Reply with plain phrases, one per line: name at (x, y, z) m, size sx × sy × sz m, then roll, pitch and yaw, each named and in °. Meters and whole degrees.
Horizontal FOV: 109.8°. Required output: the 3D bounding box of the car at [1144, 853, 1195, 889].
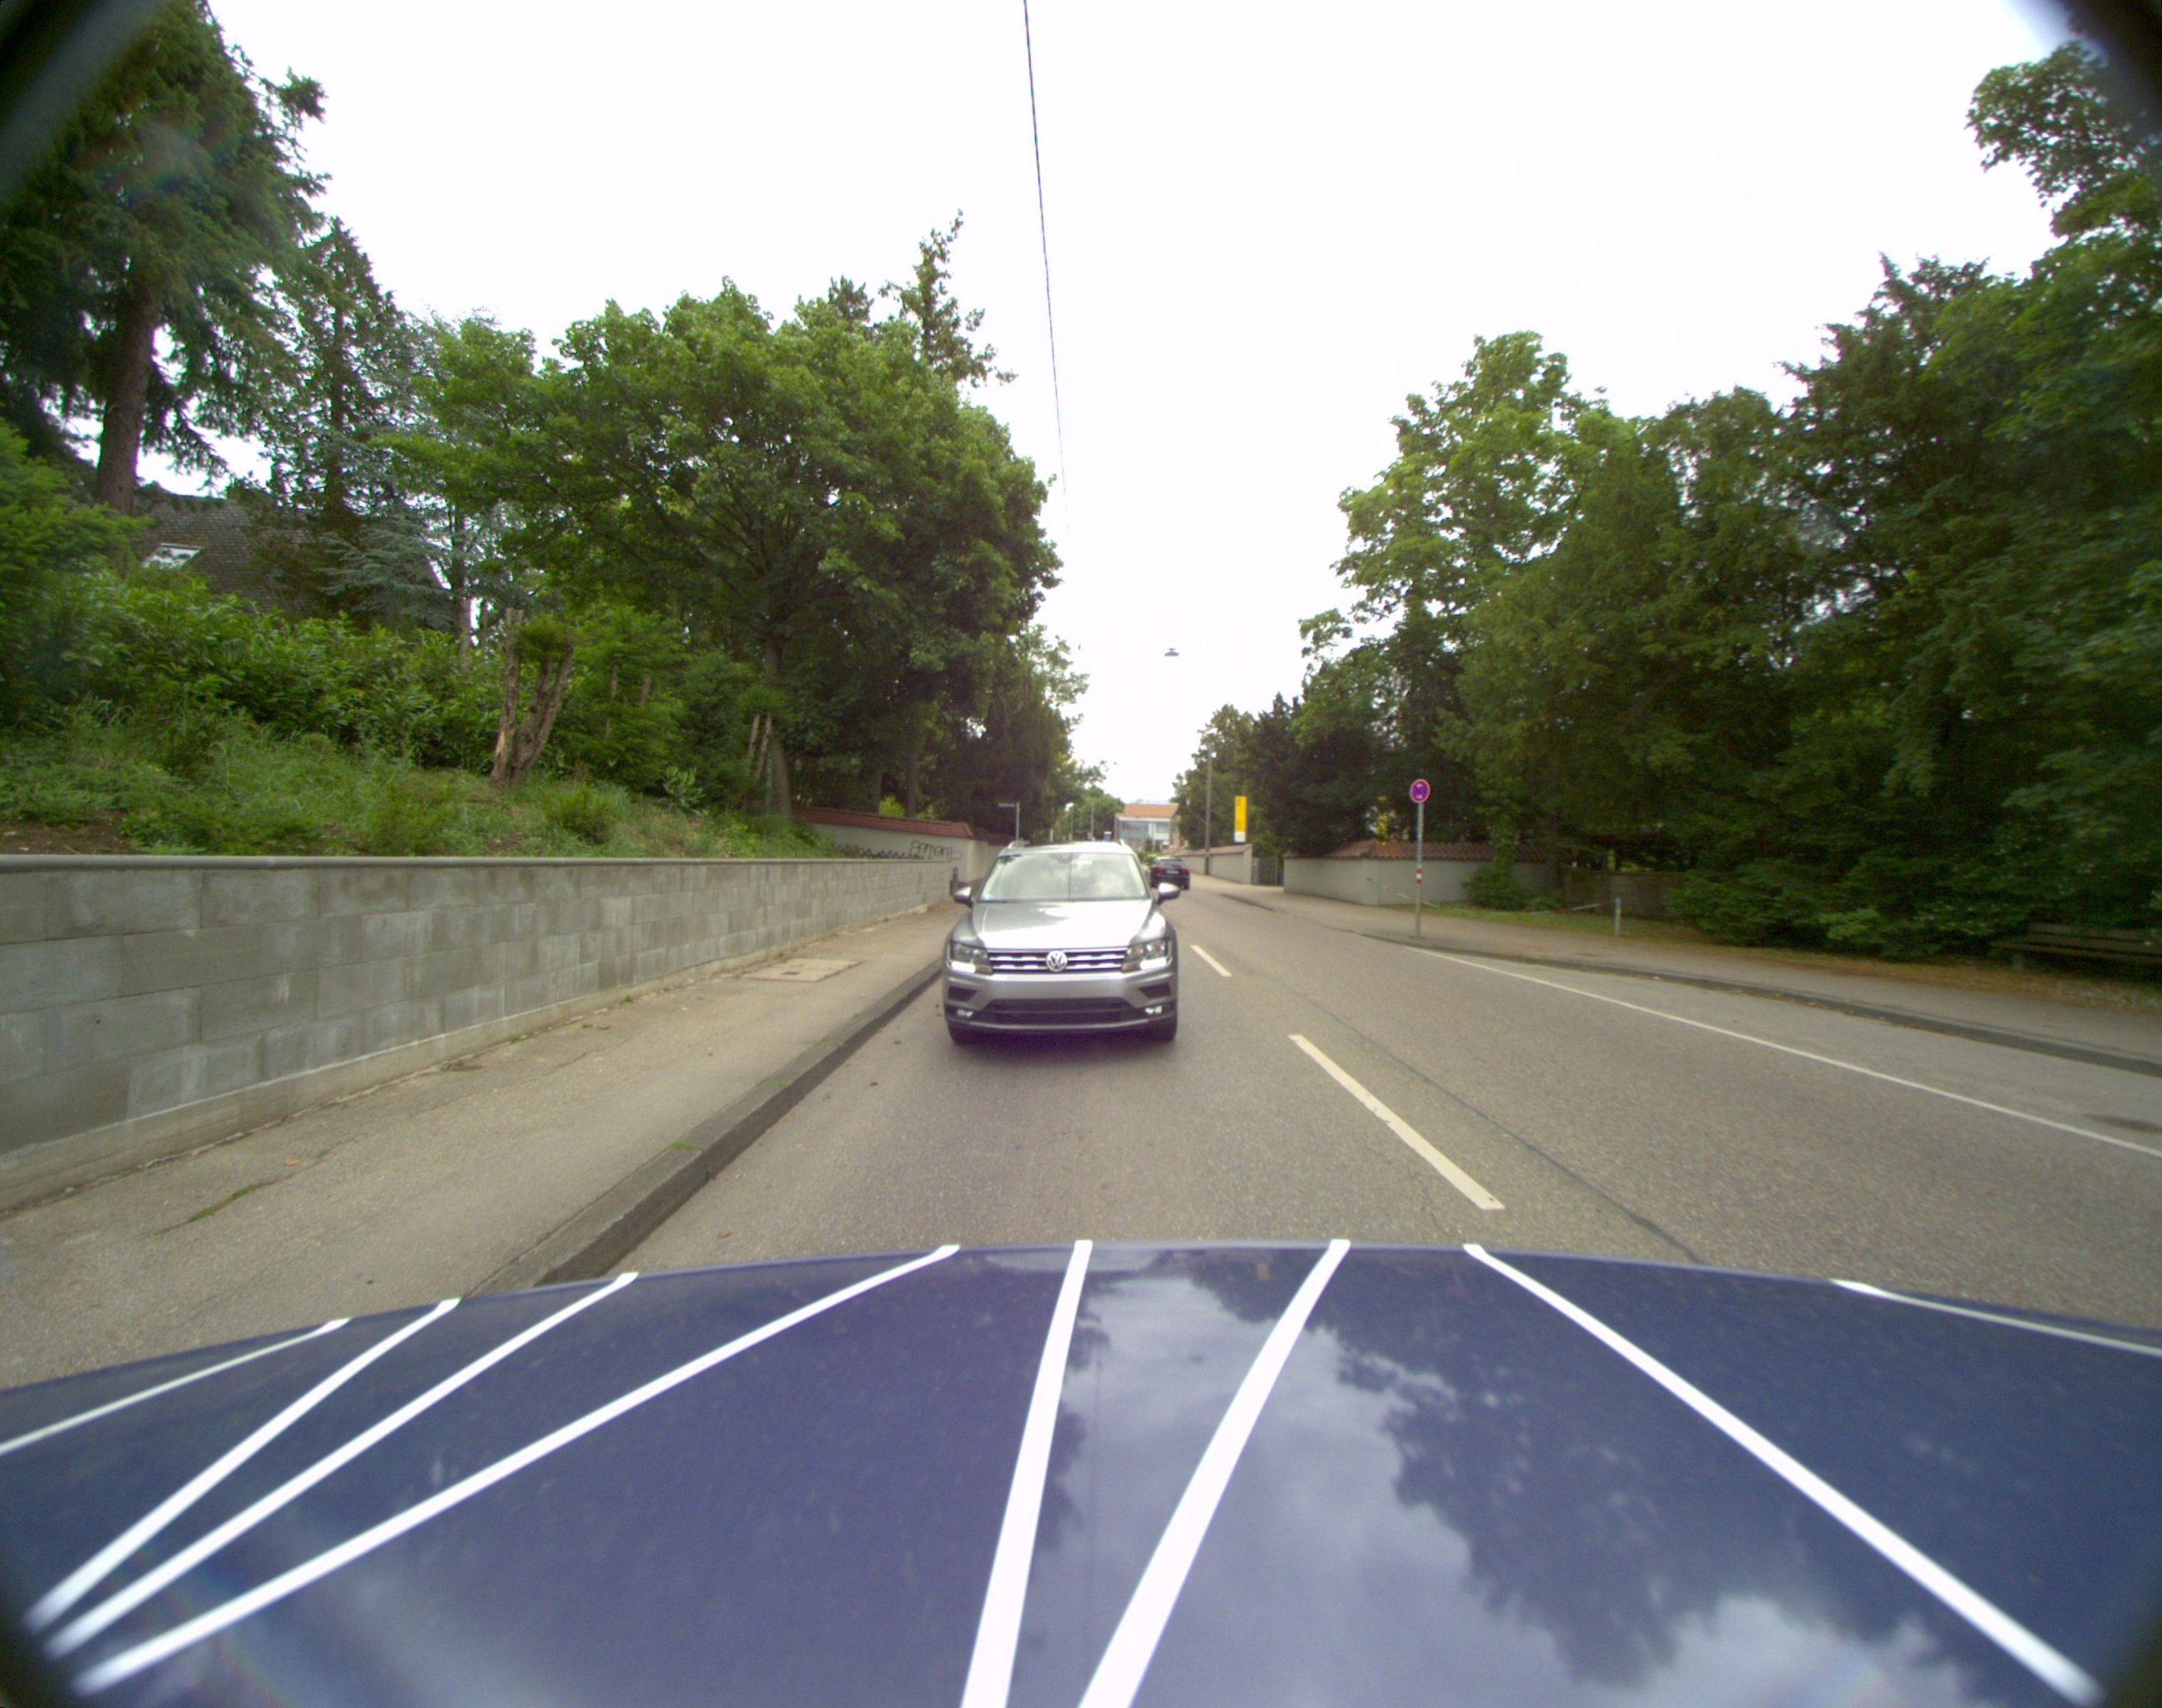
car at (4.001, 0.738, 34.990) m, size 1.864 × 1.445 × 4.110 m, roll 3°, pitch 0°, yaw 1°

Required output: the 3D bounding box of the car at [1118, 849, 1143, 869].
car at (4.267, 0.408, 65.592) m, size 1.864 × 1.648 × 4.306 m, roll 3°, pitch 0°, yaw 1°

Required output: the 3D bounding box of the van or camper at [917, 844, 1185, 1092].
van or camper at (-0.177, 0.758, 7.215) m, size 1.800 × 1.663 × 4.198 m, roll 0°, pitch 0°, yaw 1°

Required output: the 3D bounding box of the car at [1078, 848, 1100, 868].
car at (0.716, 0.315, 68.727) m, size 1.789 × 1.644 × 4.120 m, roll 3°, pitch 0°, yaw 1°
